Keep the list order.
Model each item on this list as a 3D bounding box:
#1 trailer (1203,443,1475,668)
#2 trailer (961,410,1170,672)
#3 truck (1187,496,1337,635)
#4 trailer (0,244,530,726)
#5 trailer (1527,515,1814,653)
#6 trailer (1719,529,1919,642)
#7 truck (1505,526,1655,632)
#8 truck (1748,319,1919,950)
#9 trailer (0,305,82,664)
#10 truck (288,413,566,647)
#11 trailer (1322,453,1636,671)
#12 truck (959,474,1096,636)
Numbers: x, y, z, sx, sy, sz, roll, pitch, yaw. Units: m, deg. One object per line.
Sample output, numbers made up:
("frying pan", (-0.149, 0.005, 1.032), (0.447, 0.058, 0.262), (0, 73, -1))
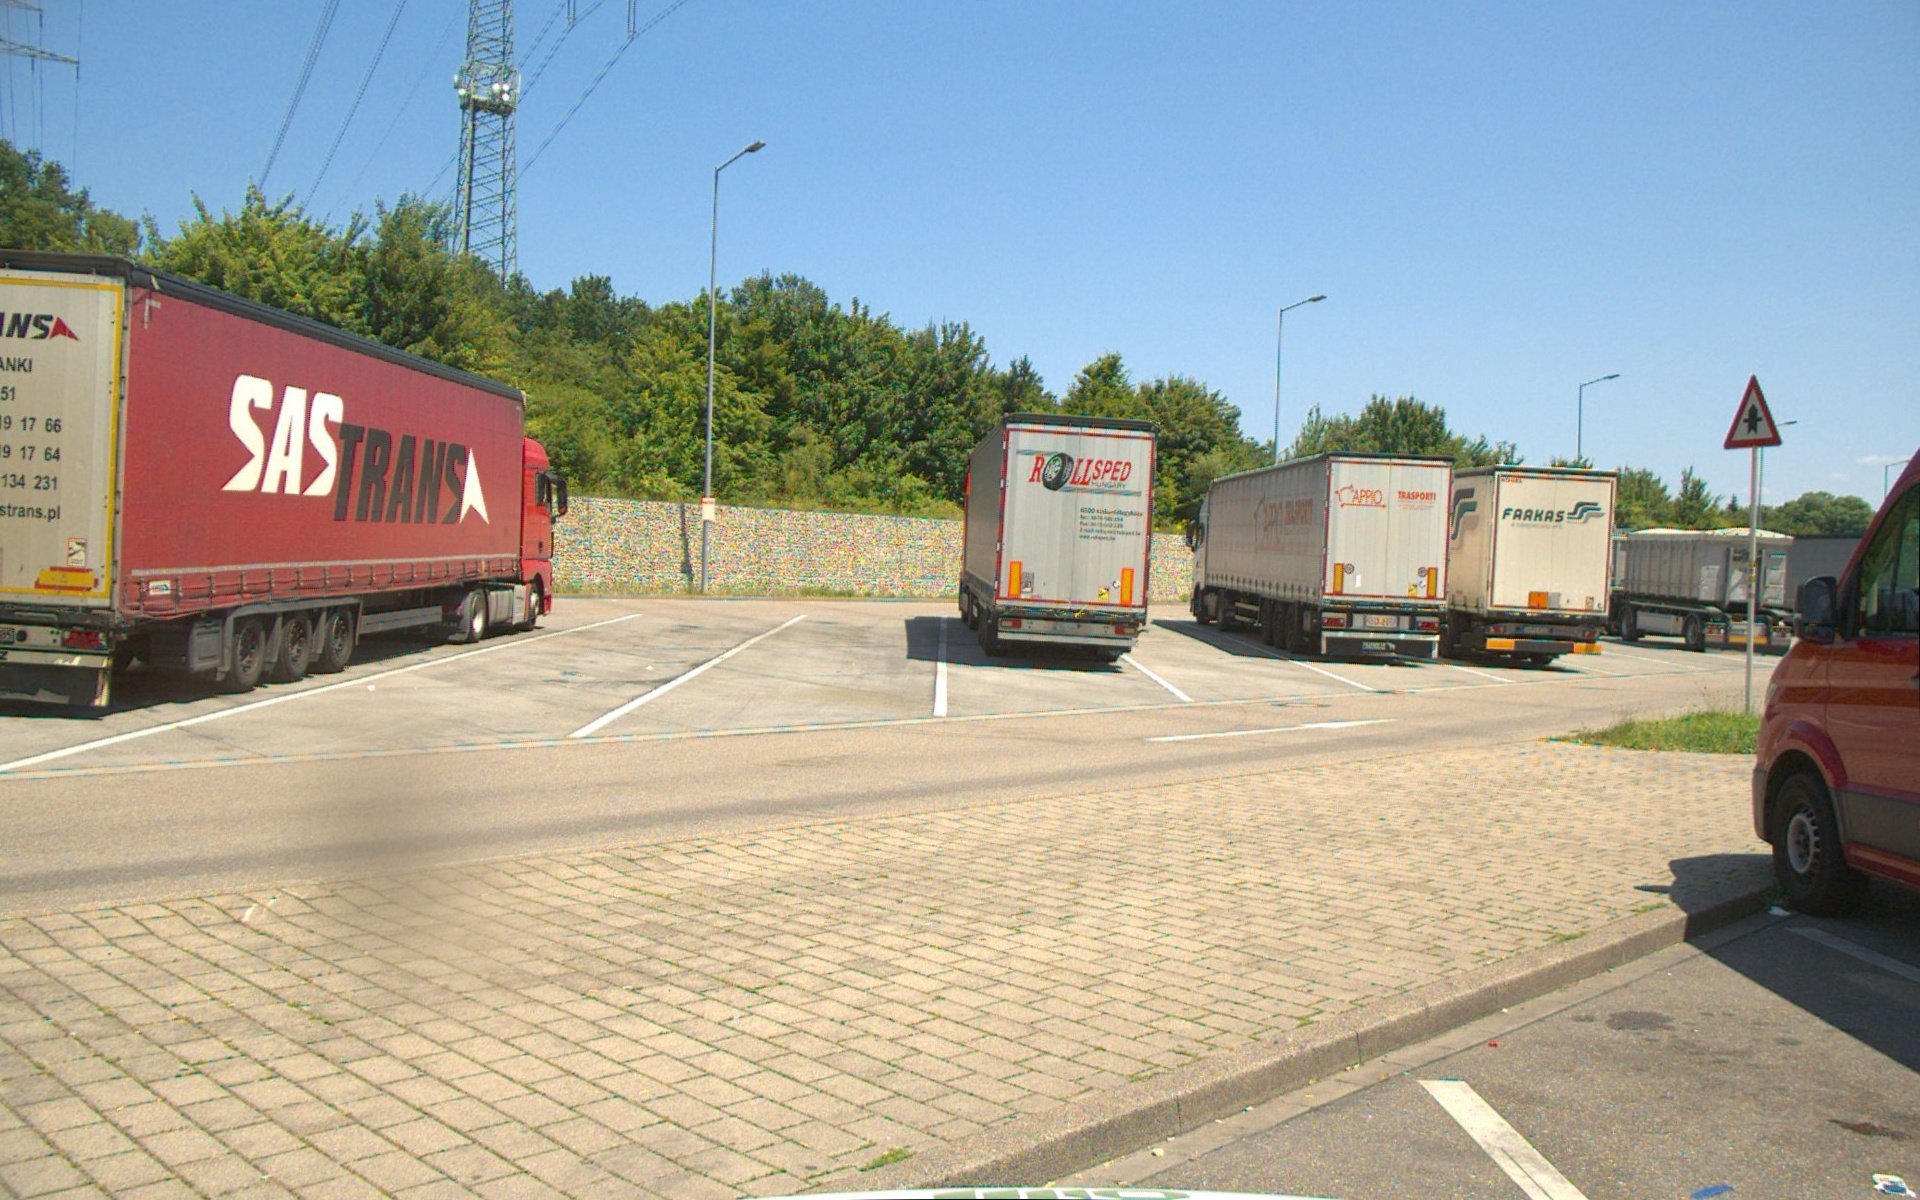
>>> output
("trailer", (8.253, -1.102, 38.509), (2.800, 4.180, 13.762), (2, 2, -1))
("trailer", (1.679, -1.177, 33.156), (2.800, 4.040, 13.761), (2, 2, -2))
("truck", (8.130, -0.985, 45.272), (2.808, 3.421, 5.974), (2, 2, -1))
("trailer", (-8.686, -1.273, 21.258), (2.764, 4.141, 13.763), (2, 2, -1))
("trailer", (21.838, -0.679, 52.254), (2.800, 3.662, 13.762), (2, 2, -1))
("trailer", (34.790, -0.706, 65.453), (2.800, 3.972, 13.762), (2, 2, -1))
("truck", (21.740, -0.794, 58.349), (2.808, 3.421, 5.974), (2, 2, -1))
("truck", (4.998, 0.158, 5.525), (1.969, 2.697, 6.457), (1, 0, 3))
("trailer", (-12.483, -1.262, 15.801), (2.651, 4.173, 10.389), (2, 2, -1))
("truck", (-8.796, -1.166, 28.073), (2.755, 3.421, 5.974), (2, 2, -1))
("trailer", (11.772, -0.990, 39.574), (2.800, 4.180, 13.762), (2, 2, -1))
("truck", (1.478, -1.094, 39.353), (2.808, 3.421, 5.974), (2, 2, -1))
